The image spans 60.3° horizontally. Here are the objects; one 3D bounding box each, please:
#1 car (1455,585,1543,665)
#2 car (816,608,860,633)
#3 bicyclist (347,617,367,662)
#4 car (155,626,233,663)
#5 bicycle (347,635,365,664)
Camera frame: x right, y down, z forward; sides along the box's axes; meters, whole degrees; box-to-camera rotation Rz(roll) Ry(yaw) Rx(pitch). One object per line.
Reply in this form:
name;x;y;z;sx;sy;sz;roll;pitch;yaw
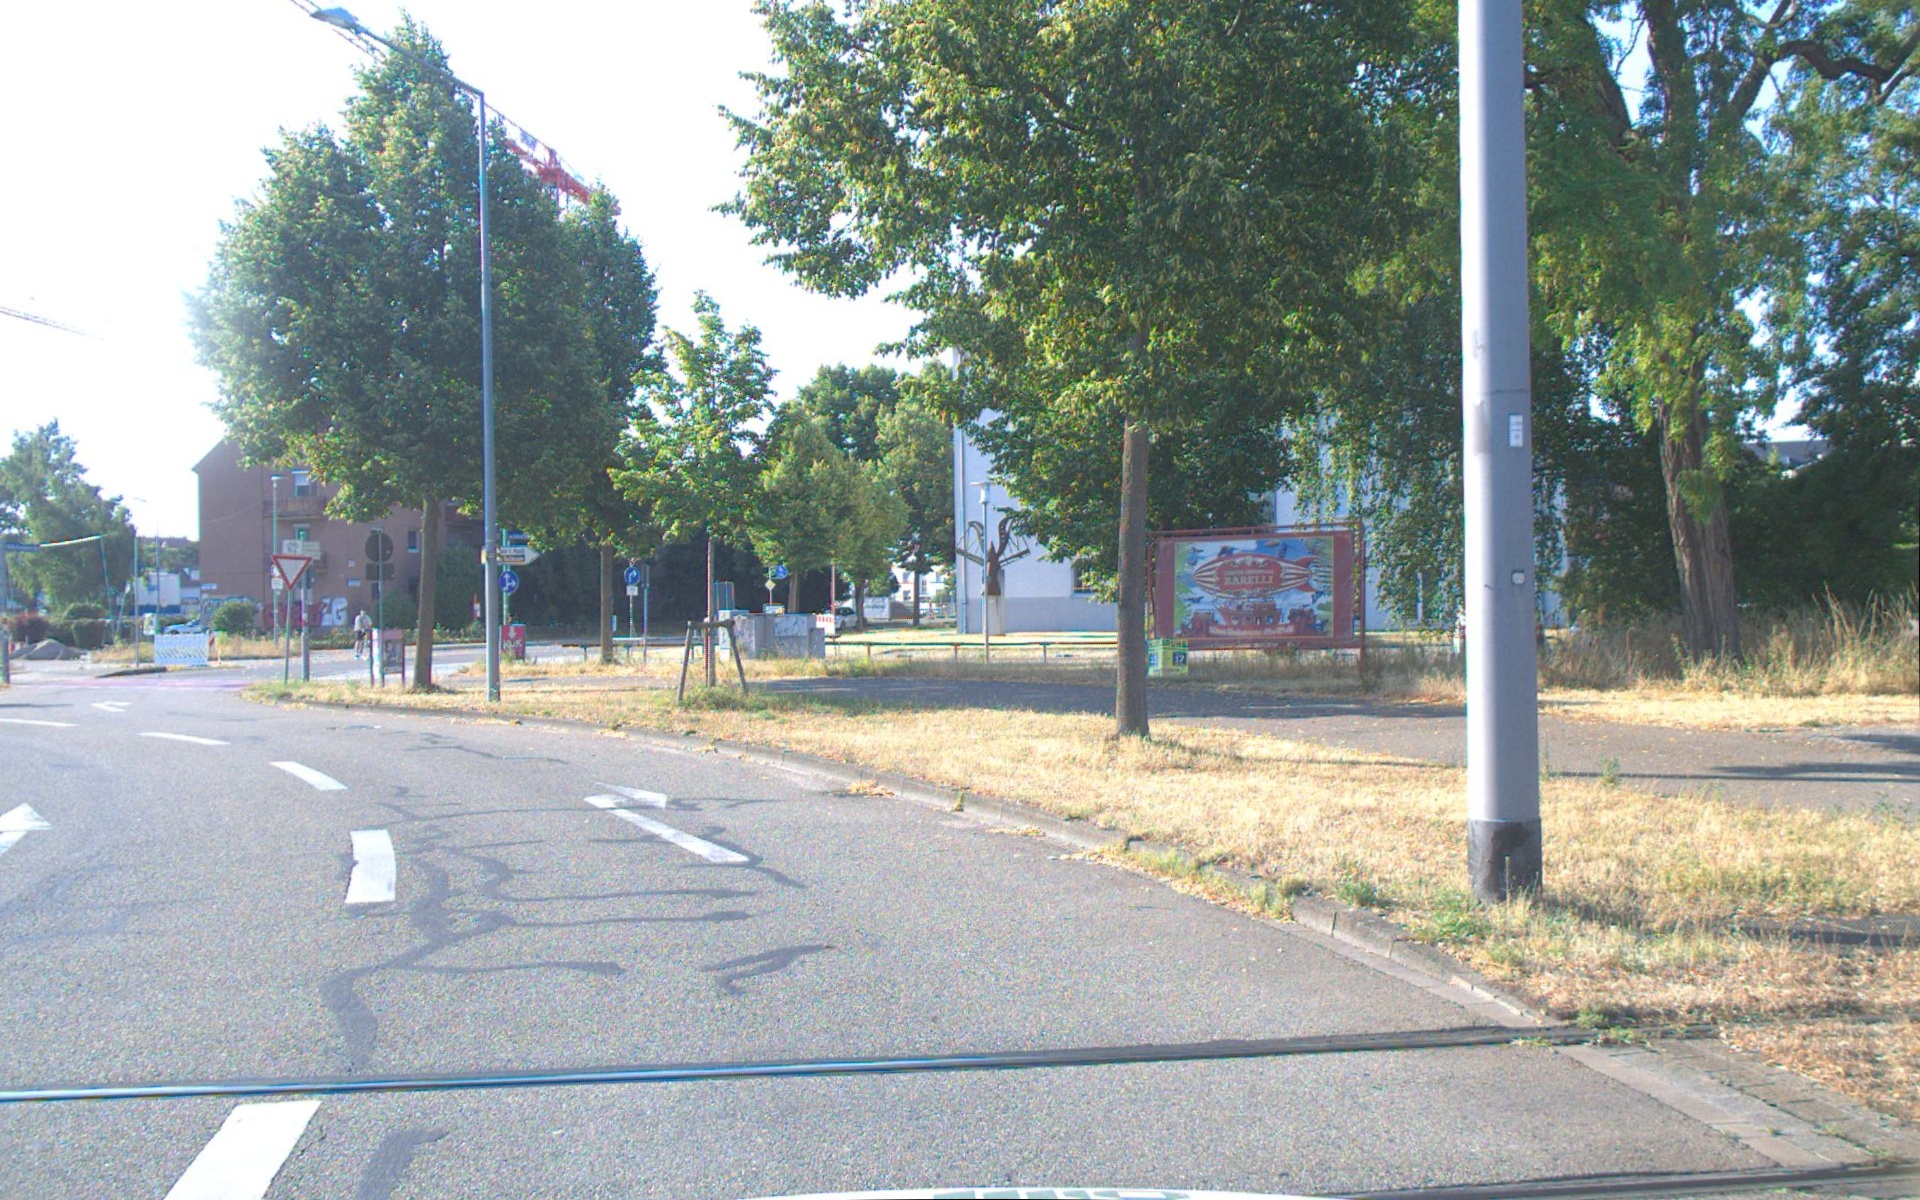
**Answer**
car;12.016;0.540;36.803;1.734;1.646;3.970;-1;-1;19
car;-7.730;1.290;105.131;1.550;1.467;3.554;-1;0;19
bicyclist;-21.444;1.393;58.848;0.648;1.589;0.888;-1;-1;-21
car;-43.844;2.529;94.647;3.727;2.049;1.673;-1;-1;10
bicycle;-21.422;1.737;58.655;0.588;0.980;2.093;-1;-1;-20
